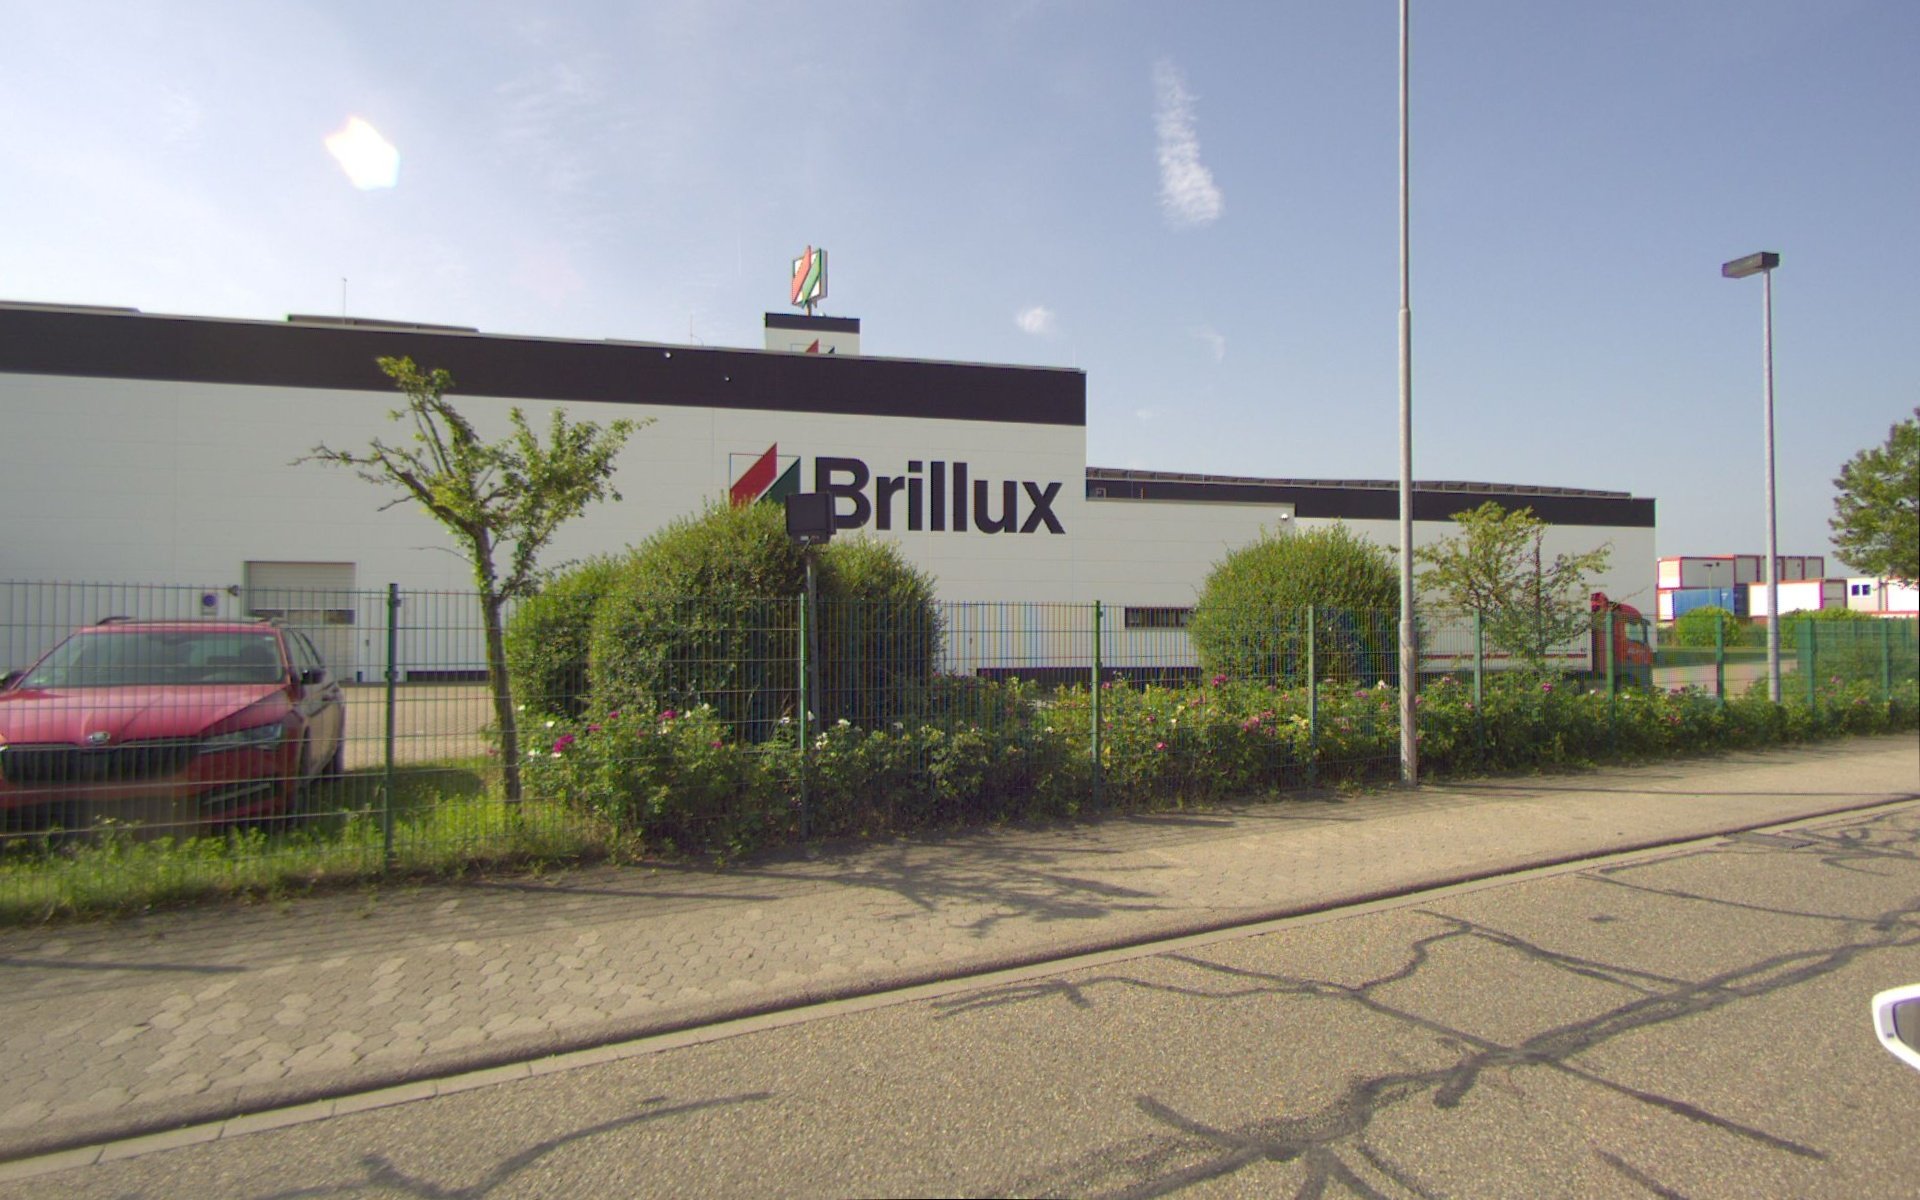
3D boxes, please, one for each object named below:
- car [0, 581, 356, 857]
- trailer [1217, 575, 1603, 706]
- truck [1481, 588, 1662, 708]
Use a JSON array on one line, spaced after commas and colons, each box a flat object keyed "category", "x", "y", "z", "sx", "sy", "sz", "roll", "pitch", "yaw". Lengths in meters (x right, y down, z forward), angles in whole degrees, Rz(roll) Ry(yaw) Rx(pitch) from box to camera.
[{"category": "car", "x": -5.801, "y": 0.767, "z": 7.556, "sx": 1.928, "sy": 1.463, "sz": 4.518, "roll": 1, "pitch": -4, "yaw": -29}, {"category": "trailer", "x": 15.974, "y": 1.488, "z": 35.498, "sx": 13.649, "sy": 4.095, "sz": 2.484, "roll": 2, "pitch": 0, "yaw": -13}, {"category": "truck", "x": 22.465, "y": 1.753, "z": 37.006, "sx": 5.449, "sy": 4.125, "sz": 2.514, "roll": 2, "pitch": 0, "yaw": -14}]
